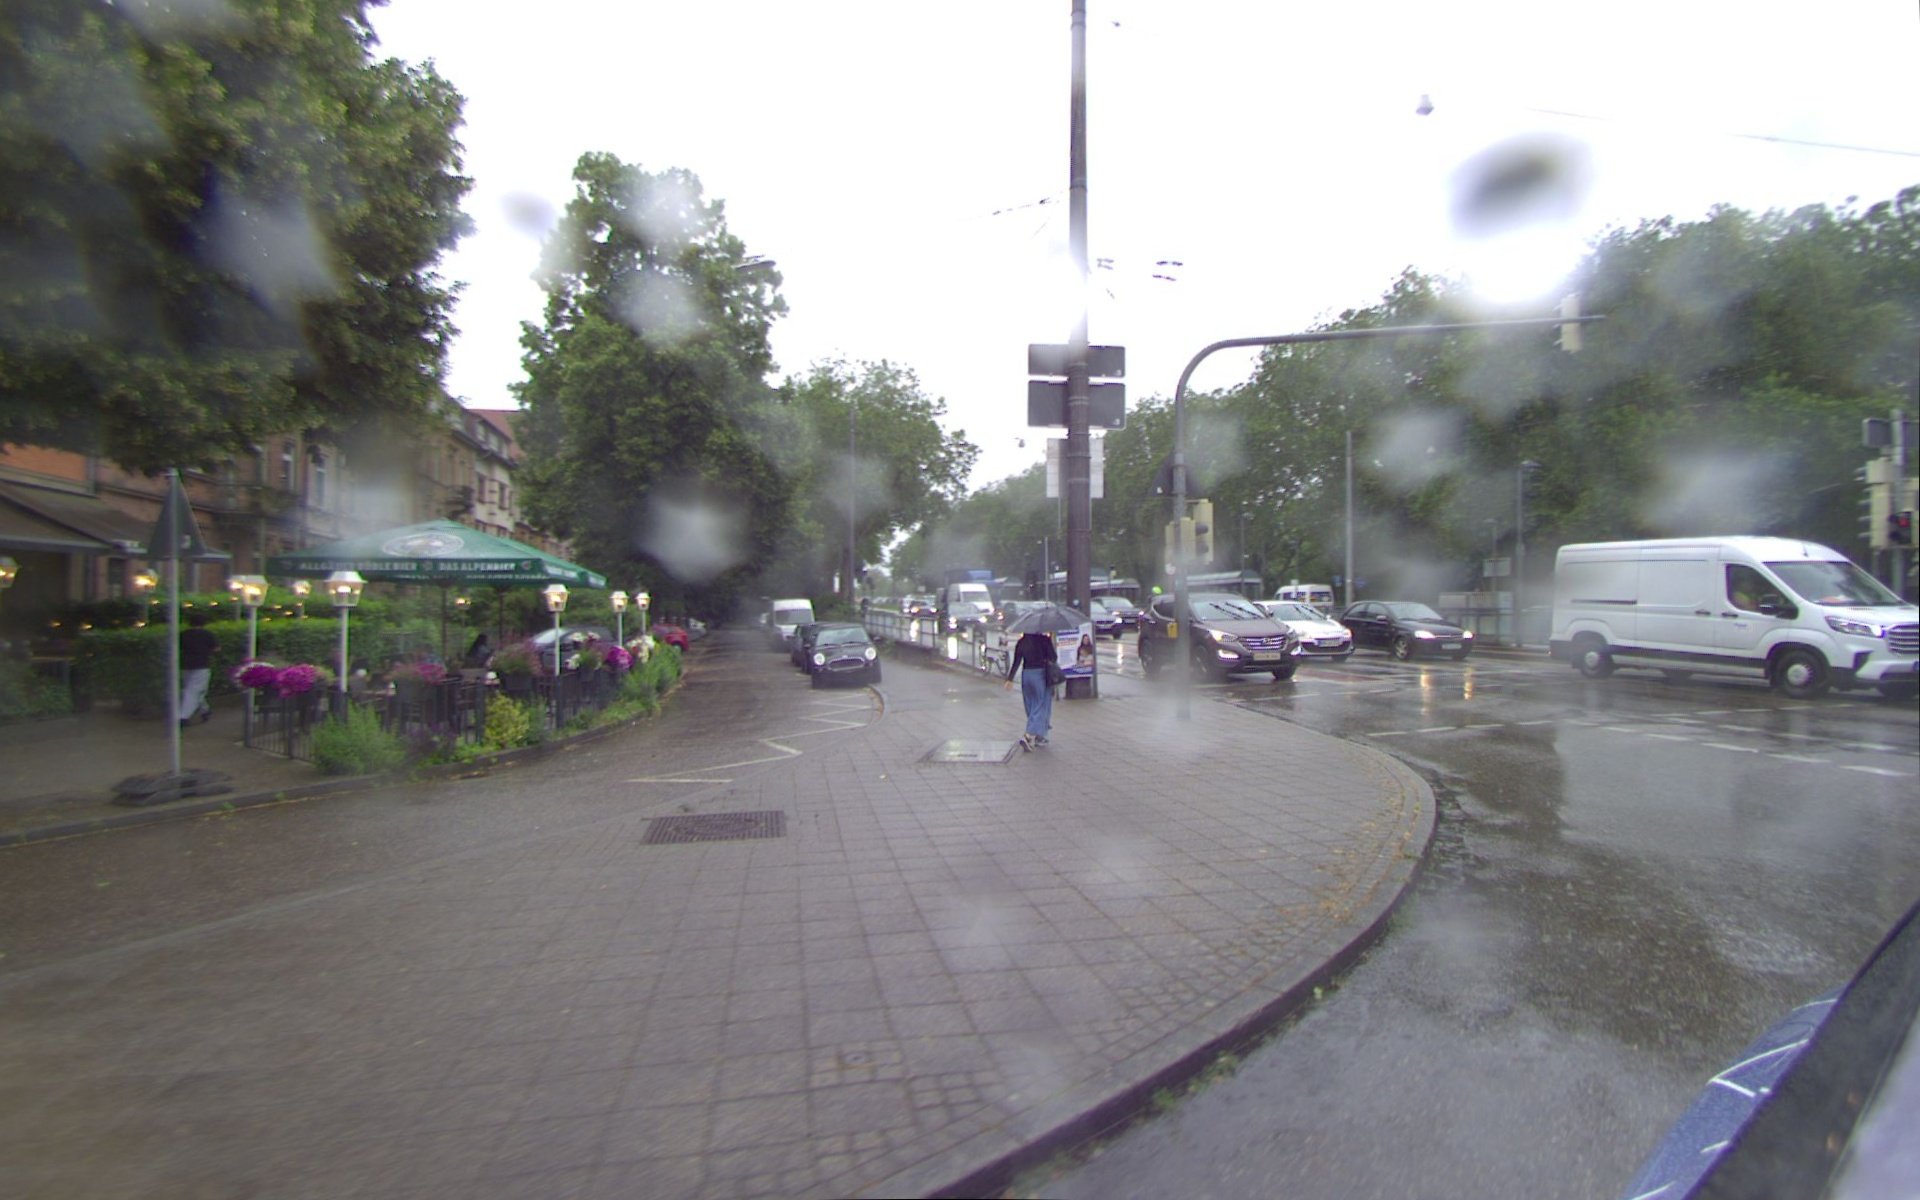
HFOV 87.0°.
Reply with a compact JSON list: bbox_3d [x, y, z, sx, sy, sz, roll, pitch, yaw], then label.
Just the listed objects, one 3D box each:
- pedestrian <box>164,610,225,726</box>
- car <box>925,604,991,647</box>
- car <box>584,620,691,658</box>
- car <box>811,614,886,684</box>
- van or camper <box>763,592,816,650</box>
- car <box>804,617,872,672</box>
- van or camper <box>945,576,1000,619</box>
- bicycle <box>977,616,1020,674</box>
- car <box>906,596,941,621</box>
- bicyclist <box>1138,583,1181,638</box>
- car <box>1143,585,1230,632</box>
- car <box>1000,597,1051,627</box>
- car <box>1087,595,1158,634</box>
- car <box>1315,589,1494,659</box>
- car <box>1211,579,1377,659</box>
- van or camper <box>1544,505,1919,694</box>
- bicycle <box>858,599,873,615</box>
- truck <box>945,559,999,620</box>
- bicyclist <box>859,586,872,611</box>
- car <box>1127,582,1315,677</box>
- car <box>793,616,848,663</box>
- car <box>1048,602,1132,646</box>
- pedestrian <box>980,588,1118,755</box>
[{"bbox_3d":[-11.183,0.981,14.794,0.539,1.666,0.389,1,-2,-9],"label":"pedestrian"},{"bbox_3d":[-0.150,1.106,44.679,1.937,1.709,4.700,-1,-1,-12],"label":"car"},{"bbox_3d":[-14.227,1.692,44.770,4.214,1.489,1.705,0,-1,-43],"label":"car"},{"bbox_3d":[-2.811,1.150,24.937,1.618,1.519,3.521,-2,-1,-9],"label":"car"},{"bbox_3d":[-8.394,1.024,49.477,2.286,2.624,6.106,-1,-1,-12],"label":"van or camper"},{"bbox_3d":[-3.725,1.266,30.416,1.715,1.482,4.222,-1,-1,-11],"label":"car"},{"bbox_3d":[0.715,-0.117,62.933,2.100,2.531,5.722,-1,-1,-12],"label":"van or camper"},{"bbox_3d":[0.812,0.940,21.762,0.415,1.183,1.796,-3,-1,-12],"label":"bicycle"},{"bbox_3d":[-2.874,0.647,78.747,1.958,1.780,4.008,-2,1,-12],"label":"car"},{"bbox_3d":[5.549,0.281,28.136,0.909,1.488,0.806,-2,0,-8],"label":"bicyclist"},{"bbox_3d":[8.693,0.344,39.179,1.811,1.655,4.253,-1,-1,-9],"label":"car"},{"bbox_3d":[3.201,0.613,50.199,1.604,1.375,4.253,-1,-1,-9],"label":"car"},{"bbox_3d":[7.559,0.687,47.447,1.874,1.668,4.197,-1,-1,-12],"label":"car"},{"bbox_3d":[10.917,0.584,25.276,1.750,1.532,4.563,-1,-1,-11],"label":"car"},{"bbox_3d":[8.123,0.465,25.062,1.936,1.764,4.274,-1,-1,-12],"label":"car"},{"bbox_3d":[12.707,0.015,16.464,2.137,2.502,5.979,-1,-1,-10],"label":"van or camper"},{"bbox_3d":[-6.381,0.491,68.220,0.725,1.086,1.870,0,-1,-15],"label":"bicycle"},{"bbox_3d":[0.804,-0.700,77.533,2.369,4.332,8.365,-1,-1,-11],"label":"truck"},{"bbox_3d":[-6.398,-0.076,68.251,0.722,1.677,0.879,0,-2,-16],"label":"bicyclist"},{"bbox_3d":[5.110,0.566,20.567,1.875,1.668,4.687,-1,-1,-10],"label":"car"},{"bbox_3d":[-4.921,1.337,35.386,1.697,1.488,4.222,-1,-1,-10],"label":"car"},{"bbox_3d":[5.084,0.946,40.482,1.909,1.613,5.343,0,-1,-9],"label":"car"},{"bbox_3d":[0.972,0.738,11.012,1.100,1.688,0.983,-2,-2,40],"label":"pedestrian"}]
